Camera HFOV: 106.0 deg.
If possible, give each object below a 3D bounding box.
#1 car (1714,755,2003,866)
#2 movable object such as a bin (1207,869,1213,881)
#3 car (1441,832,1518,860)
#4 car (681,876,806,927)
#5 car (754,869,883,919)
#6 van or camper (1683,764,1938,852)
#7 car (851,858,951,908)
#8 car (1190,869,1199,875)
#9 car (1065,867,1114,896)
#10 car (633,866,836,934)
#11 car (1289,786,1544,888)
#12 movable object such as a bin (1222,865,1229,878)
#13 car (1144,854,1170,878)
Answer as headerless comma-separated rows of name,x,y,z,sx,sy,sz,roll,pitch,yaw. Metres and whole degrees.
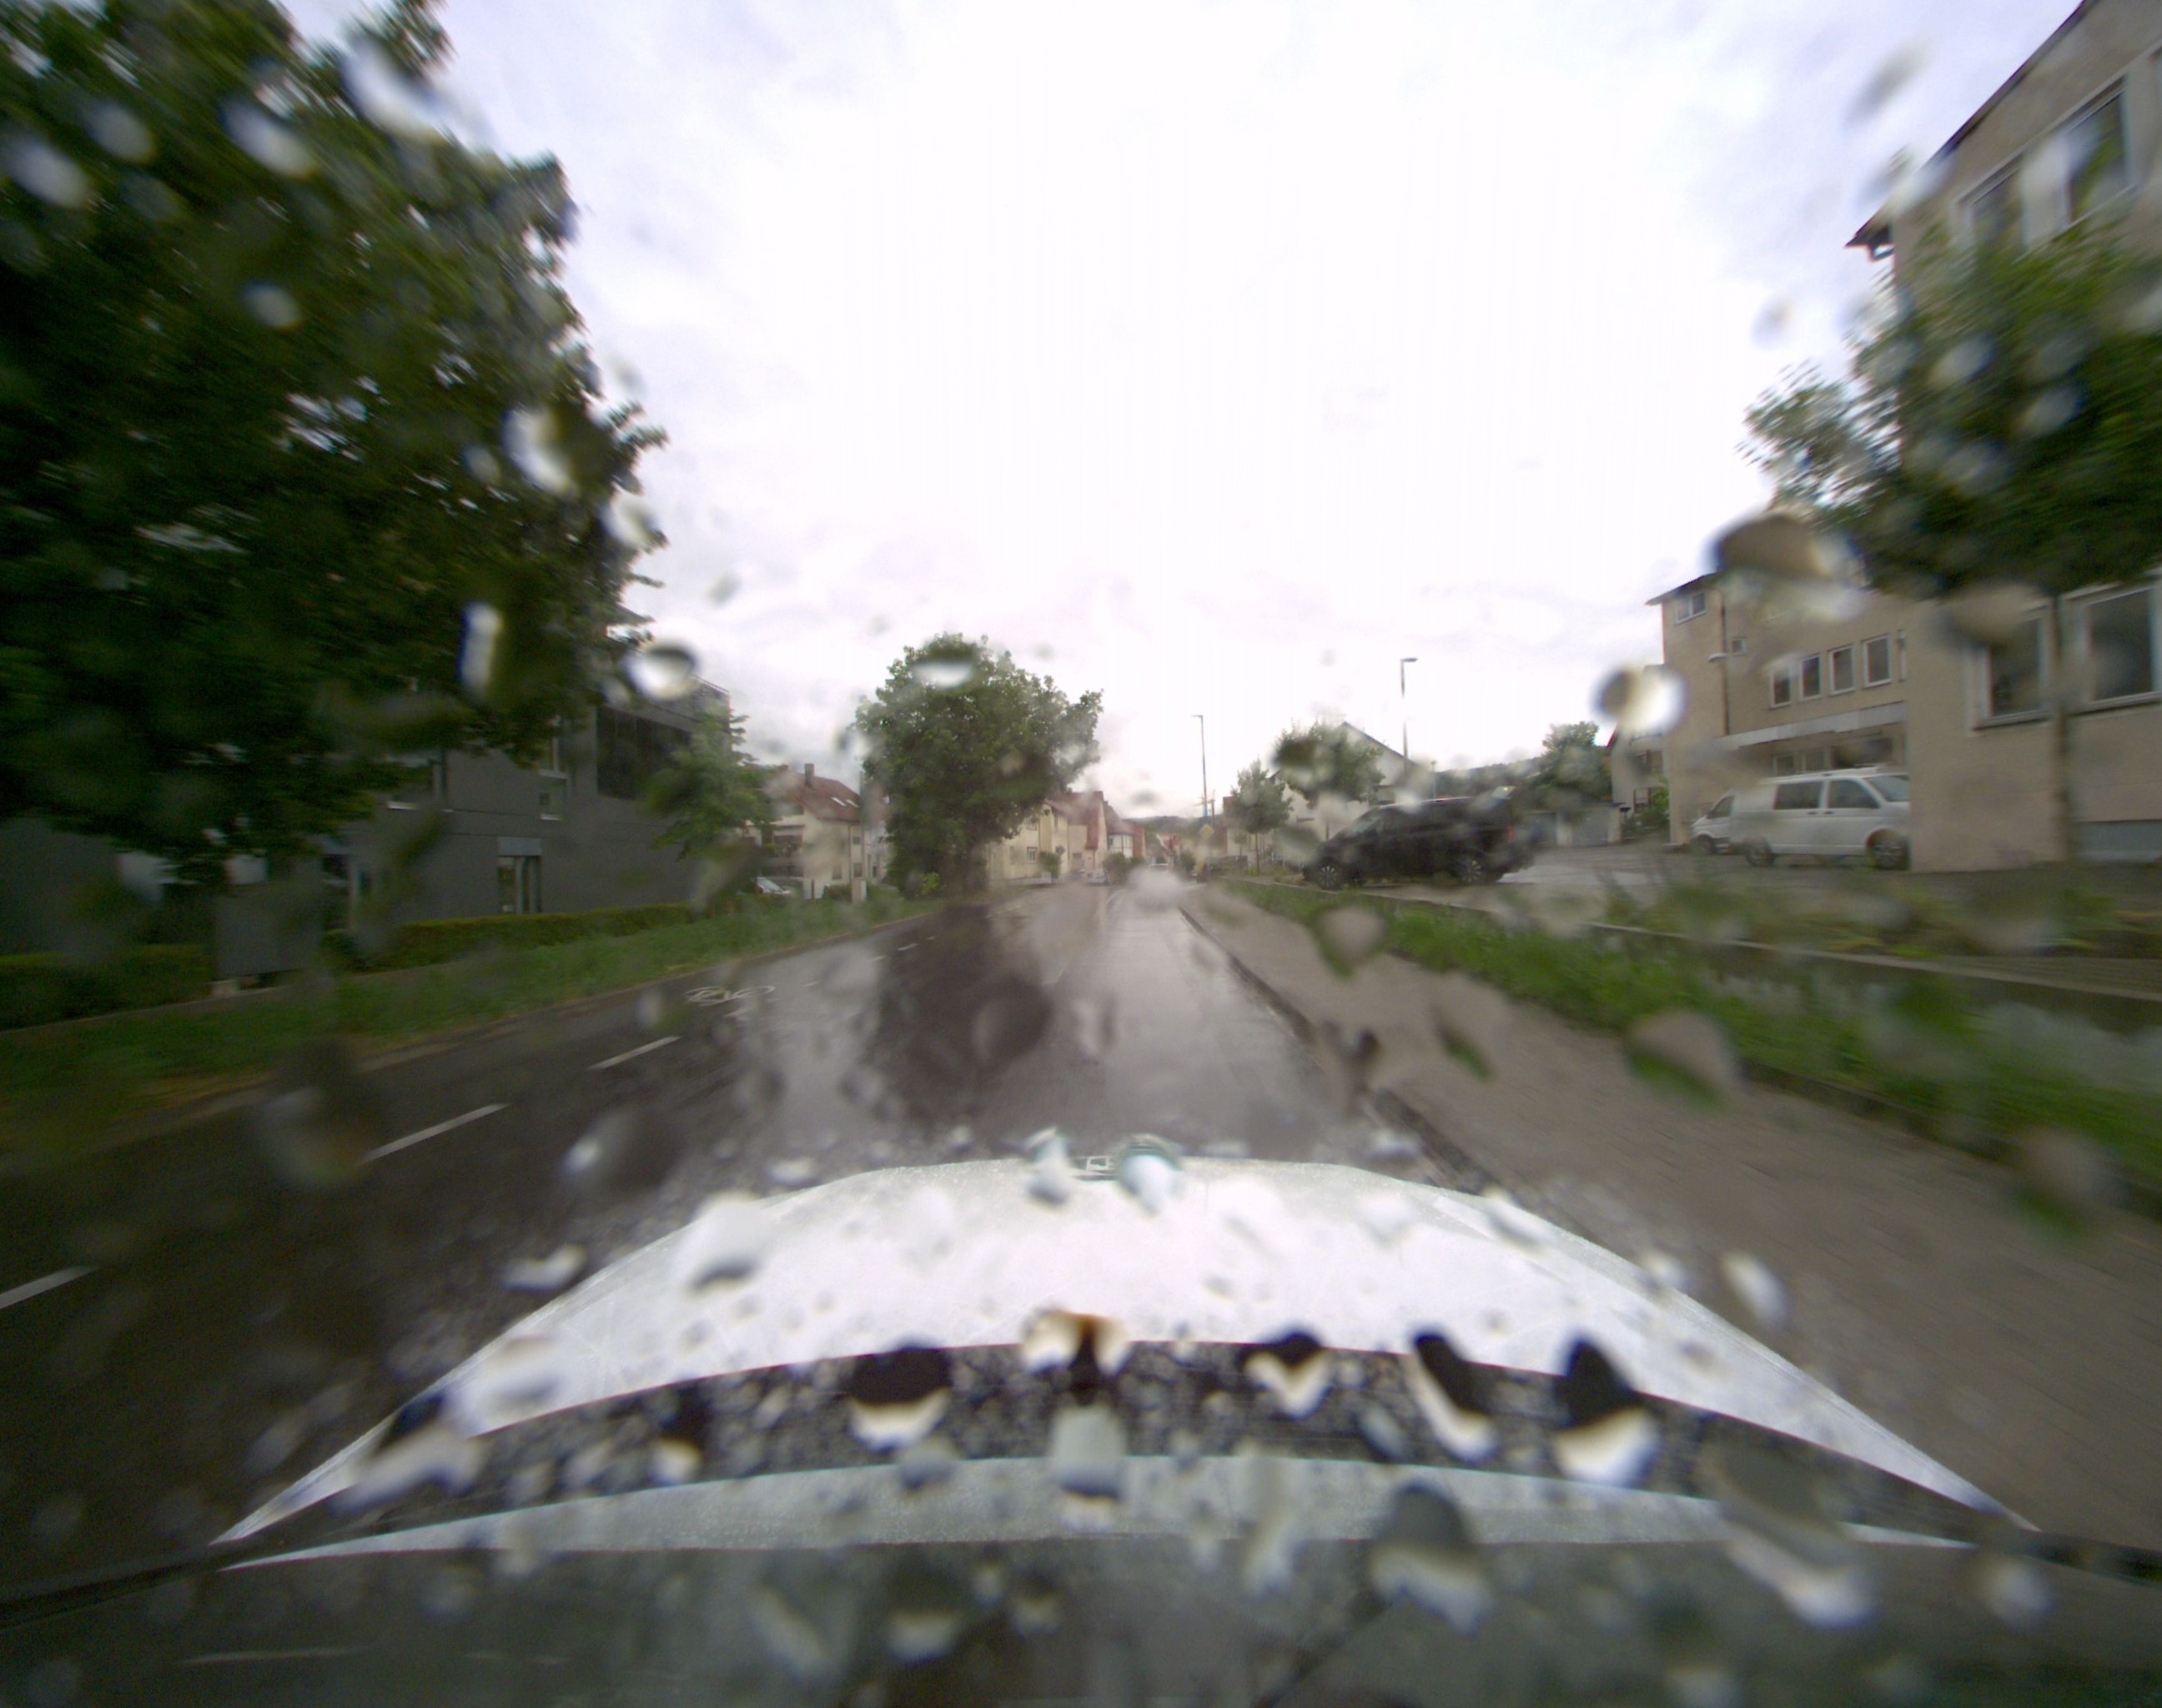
car,16.353,-0.841,17.552,1.788,2.013,4.599,-2,1,-1
movable object such as a bin,10.493,1.731,66.294,0.422,0.940,0.509,-1,1,8
car,23.641,-0.465,48.419,3.748,1.455,1.611,-3,-1,7
car,-14.354,2.003,34.863,4.382,2.013,2.154,-1,1,0
car,-7.003,1.052,21.853,2.896,1.159,1.472,-3,-1,2
van or camper,23.632,-1.349,26.935,1.992,2.536,6.586,-1,0,-8
car,-5.849,0.959,26.591,2.896,1.455,1.254,-3,-3,2
car,31.453,4.927,225.465,1.828,1.578,4.307,0,1,15
car,0.885,2.846,84.787,4.529,2.012,2.165,-14,-1,9
car,-7.821,1.028,18.578,3.884,1.284,1.583,-3,-1,2
car,7.733,-0.304,19.080,5.049,1.919,2.066,-4,-2,39
movable object such as a bin,11.723,1.381,66.187,0.525,1.028,0.633,-1,1,8
car,6.519,1.024,69.233,2.106,1.888,4.510,-1,1,6
